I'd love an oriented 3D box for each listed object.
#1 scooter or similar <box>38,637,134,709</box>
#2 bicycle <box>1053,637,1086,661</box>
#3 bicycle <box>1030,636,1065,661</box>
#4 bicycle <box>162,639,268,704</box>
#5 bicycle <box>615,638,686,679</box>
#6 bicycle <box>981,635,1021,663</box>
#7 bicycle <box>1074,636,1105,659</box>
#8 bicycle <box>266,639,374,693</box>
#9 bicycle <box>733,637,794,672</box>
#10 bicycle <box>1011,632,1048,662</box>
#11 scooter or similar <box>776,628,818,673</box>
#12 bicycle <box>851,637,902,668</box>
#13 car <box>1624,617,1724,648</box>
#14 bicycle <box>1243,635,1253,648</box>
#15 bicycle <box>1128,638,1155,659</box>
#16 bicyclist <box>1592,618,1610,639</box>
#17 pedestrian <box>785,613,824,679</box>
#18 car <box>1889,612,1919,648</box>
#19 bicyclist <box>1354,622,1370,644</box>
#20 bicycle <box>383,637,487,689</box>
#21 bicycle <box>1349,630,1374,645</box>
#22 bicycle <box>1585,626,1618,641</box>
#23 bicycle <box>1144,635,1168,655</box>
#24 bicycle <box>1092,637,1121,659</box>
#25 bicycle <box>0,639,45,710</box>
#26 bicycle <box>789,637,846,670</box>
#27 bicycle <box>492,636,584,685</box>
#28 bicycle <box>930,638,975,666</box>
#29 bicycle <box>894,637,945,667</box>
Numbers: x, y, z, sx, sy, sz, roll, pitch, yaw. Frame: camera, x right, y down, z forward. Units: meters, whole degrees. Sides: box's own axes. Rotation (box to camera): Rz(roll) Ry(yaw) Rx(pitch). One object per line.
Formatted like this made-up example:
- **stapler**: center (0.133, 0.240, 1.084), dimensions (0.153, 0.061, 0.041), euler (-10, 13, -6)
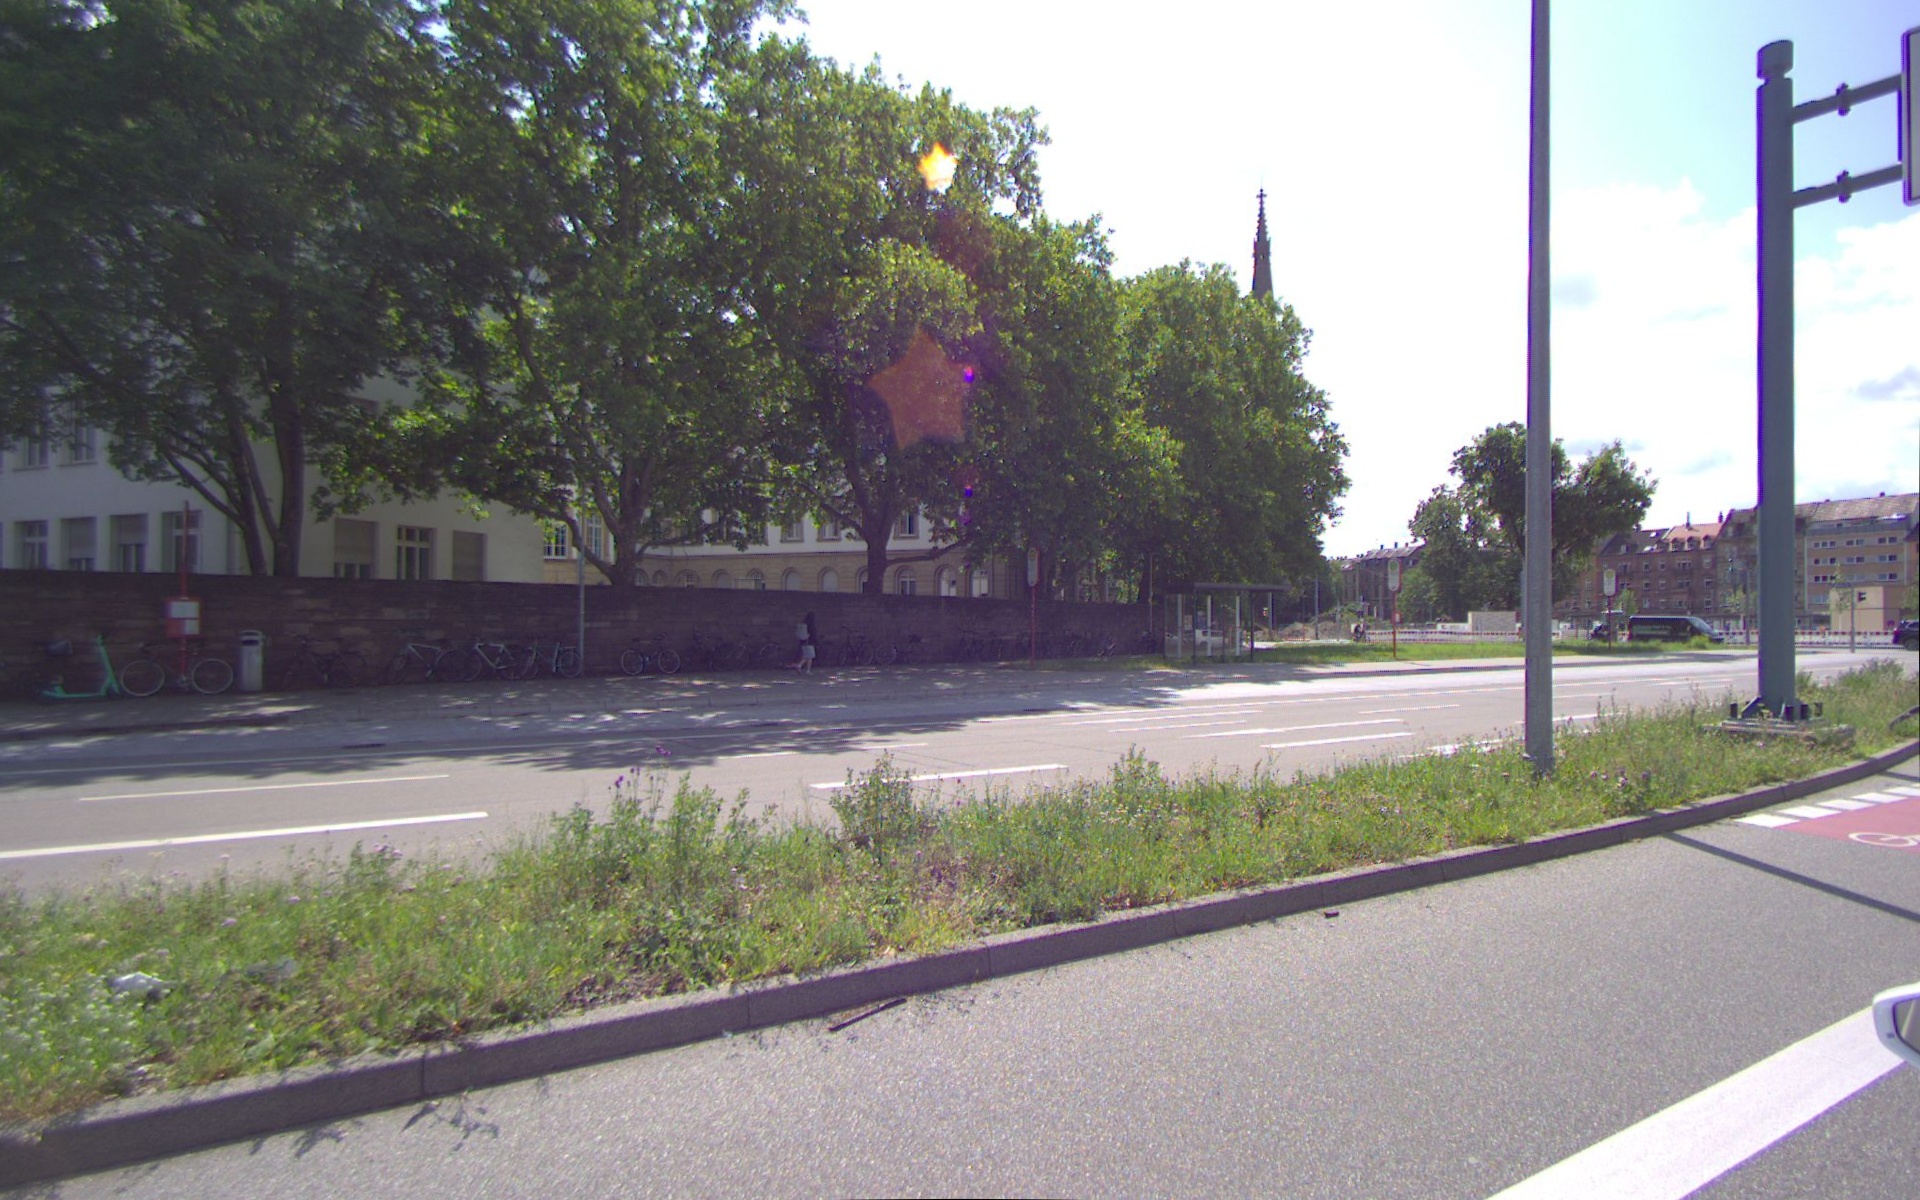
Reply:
- **scooter or similar**: center (-15.055, 1.236, 17.316), dimensions (0.426, 1.167, 1.188), euler (-1, -1, 37)
- **bicycle**: center (4.399, 1.939, 40.247), dimensions (0.537, 0.914, 1.659), euler (0, -1, 37)
- **bicycle**: center (3.385, 1.878, 38.856), dimensions (0.537, 0.914, 1.659), euler (0, -1, 37)
- **bicycle**: center (-14.167, 1.336, 19.126), dimensions (1.583, 1.158, 0.427), euler (1, -1, -44)
- **bicycle**: center (-7.715, 1.442, 25.081), dimensions (1.654, 0.962, 0.538), euler (1, -1, -44)
- **bicycle**: center (1.474, 1.744, 36.077), dimensions (0.537, 0.964, 1.657), euler (-1, -1, 41)
- **bicycle**: center (5.376, 1.970, 41.629), dimensions (0.537, 0.914, 1.659), euler (0, -1, 37)
- **bicycle**: center (-12.908, 1.307, 20.296), dimensions (1.787, 1.021, 0.476), euler (1, -1, -41)
- **bicycle**: center (-5.442, 1.501, 27.869), dimensions (1.654, 0.914, 0.538), euler (2, -2, -44)
- **bicycle**: center (2.586, 1.743, 37.345), dimensions (0.537, 1.065, 1.615), euler (0, -1, 41)
- **scooter or similar**: center (-4.519, 1.395, 27.871), dimensions (0.426, 1.199, 1.188), euler (-1, -1, 37)
- **bicycle**: center (-2.585, 1.618, 31.135), dimensions (0.538, 0.914, 1.656), euler (-1, -1, 43)
- **car**: center (46.127, 2.068, 65.017), dimensions (1.909, 1.904, 4.977), euler (0, -1, -34)
- **bicycle**: center (21.078, 3.009, 73.470), dimensions (0.534, 0.914, 1.666), euler (0, -1, 10)
- **bicycle**: center (8.322, 2.201, 46.077), dimensions (0.537, 0.914, 1.659), euler (0, -1, 37)
- **bicyclist**: center (45.504, 2.039, 71.329), dimensions (0.546, 1.493, 0.960), euler (1, -1, -38)
- **pedestrian**: center (-3.987, 1.167, 25.804), dimensions (0.607, 1.638, 0.754), euler (1, 0, 37)
- **car**: center (56.912, 1.741, 57.954), dimensions (2.079, 2.040, 4.598), euler (2, -2, -35)
- **bicyclist**: center (34.939, 2.839, 87.293), dimensions (0.588, 1.869, 1.110), euler (0, -1, -38)
- **bicycle**: center (-11.339, 1.340, 21.748), dimensions (1.936, 1.061, 0.538), euler (1, -1, -44)
- **bicycle**: center (34.892, 3.258, 87.348), dimensions (0.599, 1.307, 2.048), euler (1, -1, -38)
- **bicycle**: center (45.520, 2.395, 71.283), dimensions (0.543, 1.044, 1.906), euler (1, -1, -38)
- **bicycle**: center (9.341, 2.117, 47.899), dimensions (0.536, 0.914, 1.661), euler (0, -1, 32)
- **bicycle**: center (6.312, 2.055, 43.148), dimensions (0.446, 0.914, 1.787), euler (0, -1, 37)
- **bicycle**: center (-16.477, 1.259, 16.846), dimensions (0.525, 1.167, 1.588), euler (-1, -1, 36)
- **bicycle**: center (-4.132, 1.553, 29.249), dimensions (1.654, 0.914, 0.538), euler (1, -1, -44)
- **bicycle**: center (-9.724, 1.377, 23.192), dimensions (1.883, 1.061, 0.538), euler (1, -1, -44)
- **bicycle**: center (-0.231, 1.738, 33.919), dimensions (0.537, 0.914, 1.656), euler (-1, -1, 42)
- **bicycle**: center (-1.286, 1.675, 32.324), dimensions (1.649, 0.914, 0.498), euler (1, -1, -36)
